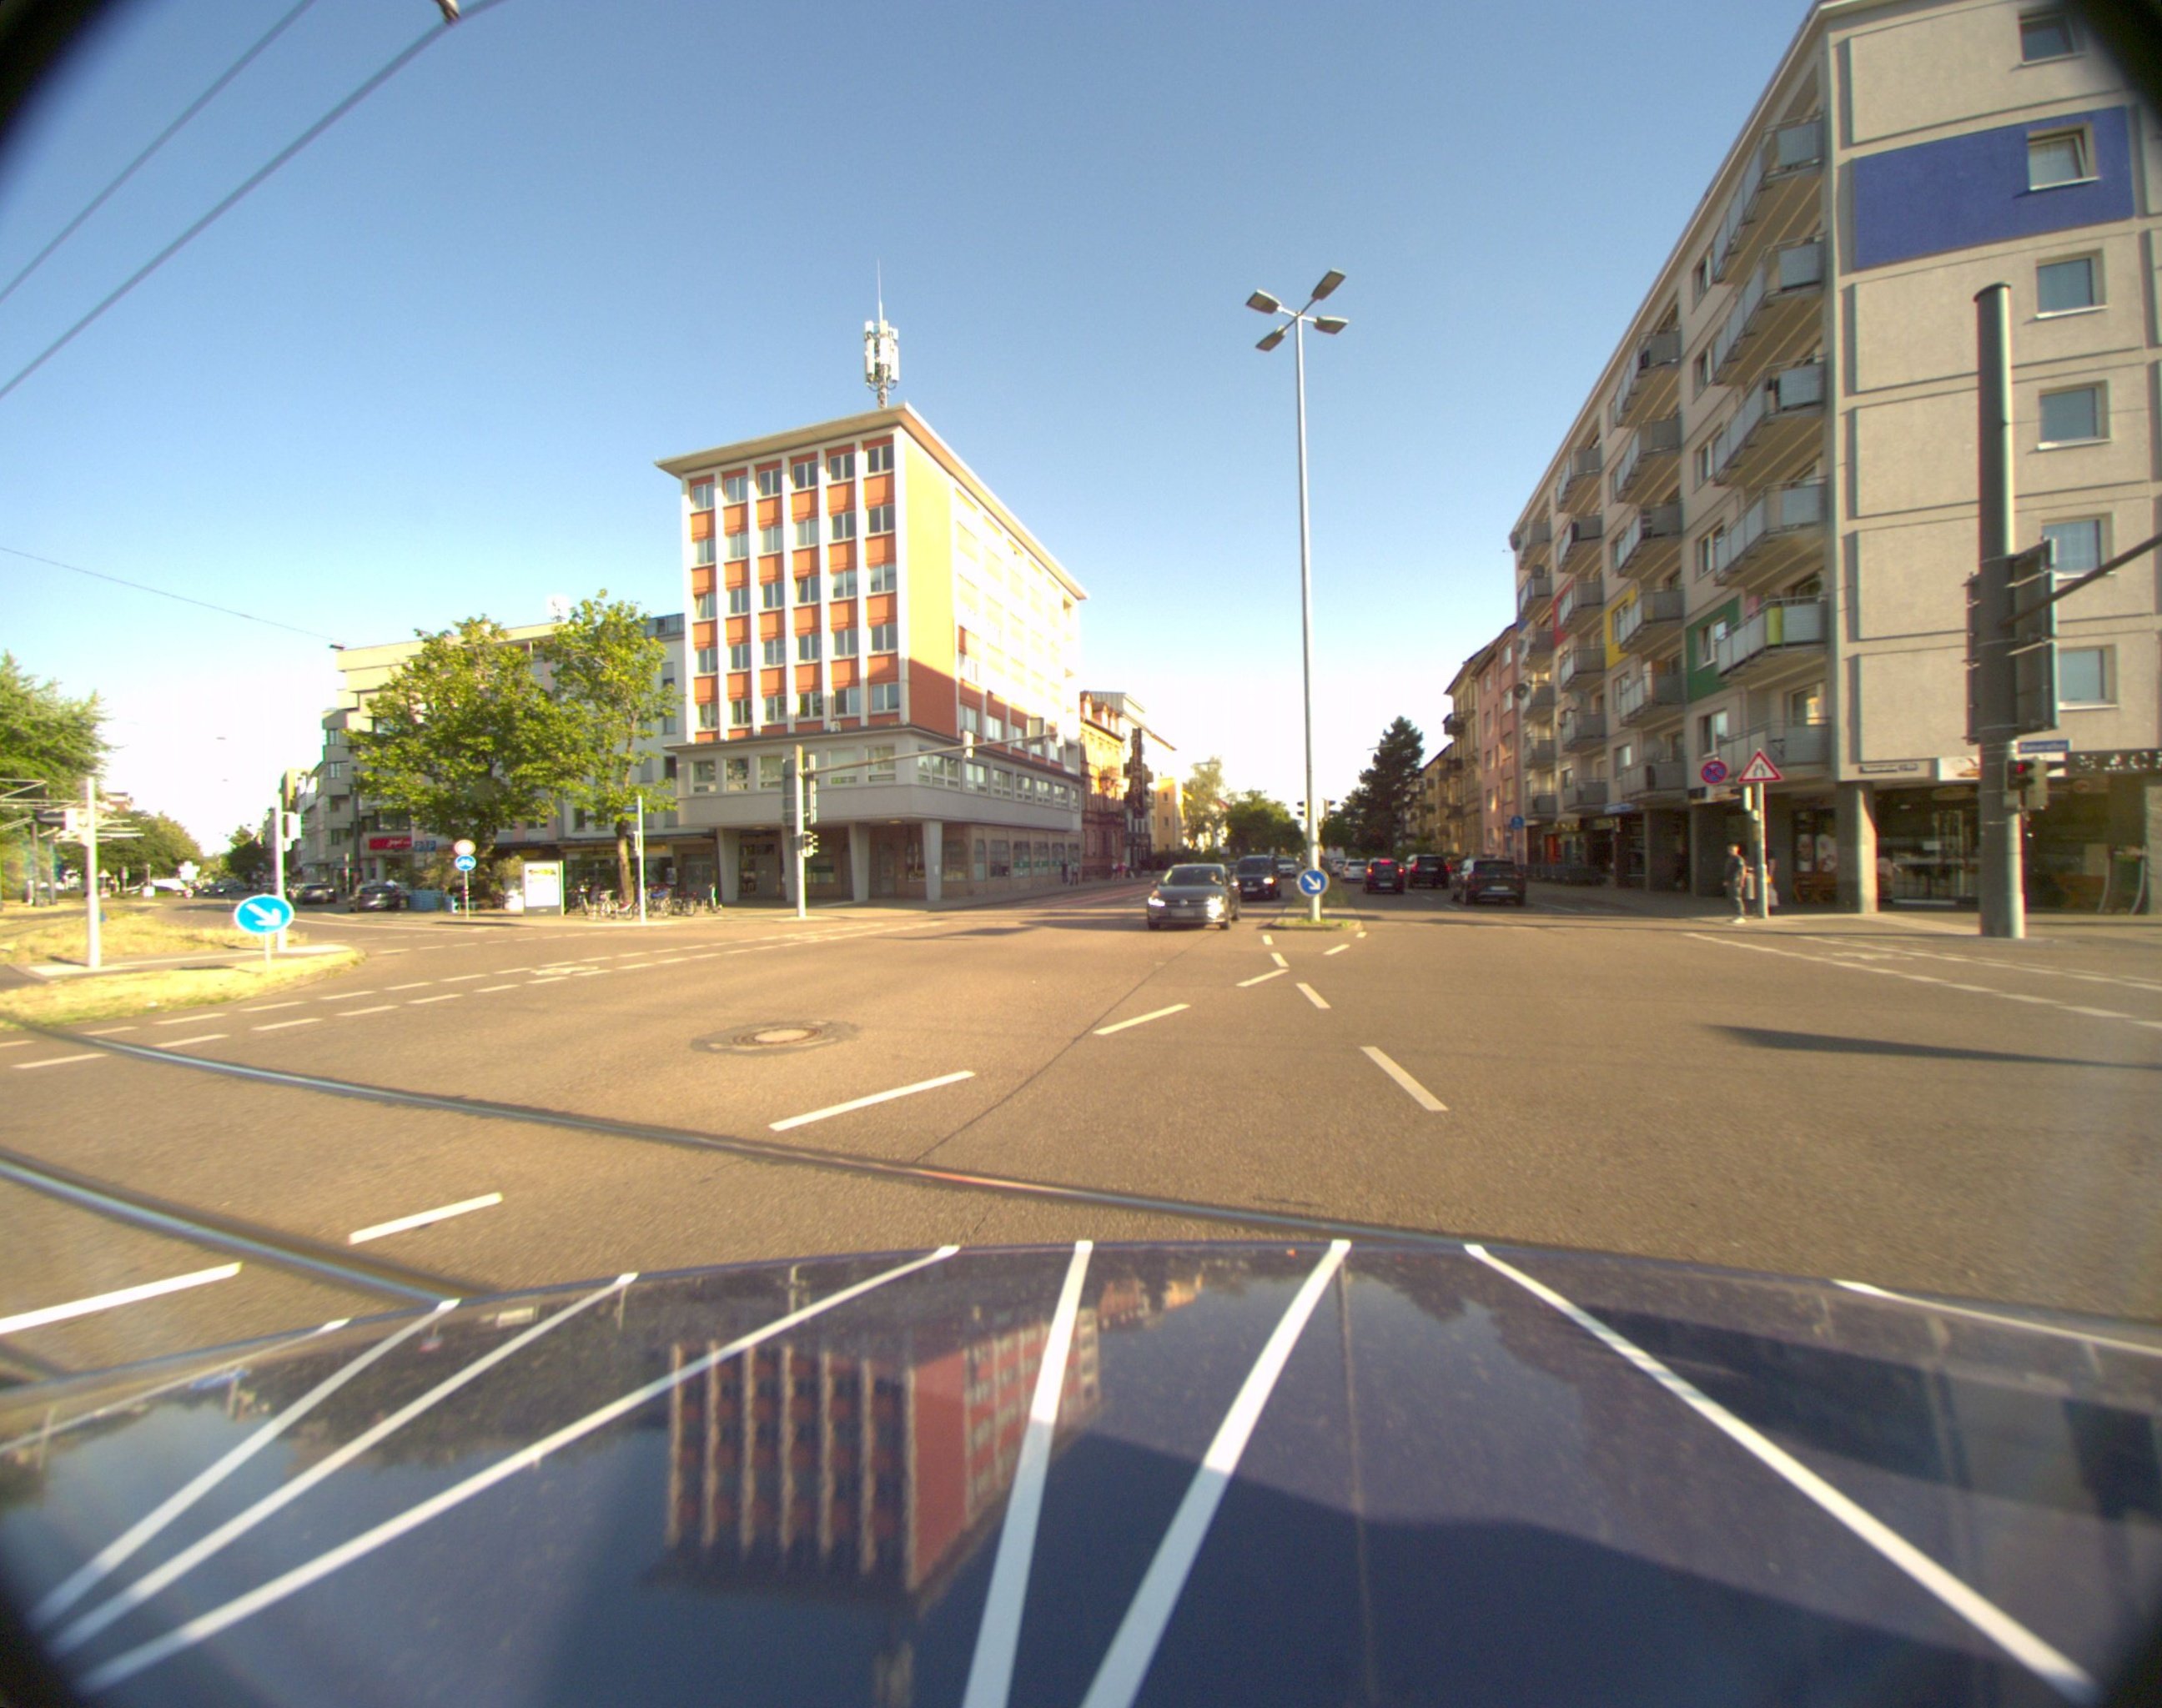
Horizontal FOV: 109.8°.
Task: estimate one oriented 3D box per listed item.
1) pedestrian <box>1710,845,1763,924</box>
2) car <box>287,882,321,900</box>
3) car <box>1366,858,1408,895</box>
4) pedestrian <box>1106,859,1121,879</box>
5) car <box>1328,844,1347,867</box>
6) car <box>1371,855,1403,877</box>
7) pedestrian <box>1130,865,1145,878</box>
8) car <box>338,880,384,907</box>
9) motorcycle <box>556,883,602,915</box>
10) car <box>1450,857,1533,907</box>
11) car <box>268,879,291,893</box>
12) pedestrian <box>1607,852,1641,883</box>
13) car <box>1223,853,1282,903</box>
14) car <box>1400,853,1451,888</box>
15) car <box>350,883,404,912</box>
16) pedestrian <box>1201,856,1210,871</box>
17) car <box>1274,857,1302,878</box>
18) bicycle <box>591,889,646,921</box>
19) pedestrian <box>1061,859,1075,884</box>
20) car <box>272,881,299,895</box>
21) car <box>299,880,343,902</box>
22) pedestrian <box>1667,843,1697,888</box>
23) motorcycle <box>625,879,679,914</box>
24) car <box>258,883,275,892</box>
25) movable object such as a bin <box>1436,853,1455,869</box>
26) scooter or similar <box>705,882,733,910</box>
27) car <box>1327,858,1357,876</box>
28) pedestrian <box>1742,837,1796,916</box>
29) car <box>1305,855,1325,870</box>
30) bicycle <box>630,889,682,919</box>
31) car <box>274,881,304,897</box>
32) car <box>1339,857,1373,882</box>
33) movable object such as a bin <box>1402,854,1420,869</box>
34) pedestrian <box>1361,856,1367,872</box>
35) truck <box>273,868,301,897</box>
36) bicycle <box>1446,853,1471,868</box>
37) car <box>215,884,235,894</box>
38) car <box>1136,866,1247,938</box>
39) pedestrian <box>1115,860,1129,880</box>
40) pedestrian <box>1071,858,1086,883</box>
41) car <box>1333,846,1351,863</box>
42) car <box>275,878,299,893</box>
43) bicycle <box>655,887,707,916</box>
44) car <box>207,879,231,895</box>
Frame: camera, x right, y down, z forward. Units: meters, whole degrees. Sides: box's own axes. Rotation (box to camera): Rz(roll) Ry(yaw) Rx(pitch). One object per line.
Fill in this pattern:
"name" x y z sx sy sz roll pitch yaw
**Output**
"pedestrian" 15.151 0.690 17.587 0.609 1.776 0.813 -4 -1 22
"car" -66.024 3.097 64.536 3.381 1.376 1.744 -2 0 40
"car" 13.675 0.961 34.113 1.579 1.535 3.482 0 0 19
"pedestrian" 2.658 1.220 62.154 0.785 1.579 1.012 3 2 23
"car" 30.305 0.165 89.815 2.133 2.740 4.472 0 0 18
"car" 21.979 0.807 54.631 1.677 1.535 3.642 0 0 15
"pedestrian" 5.065 1.564 68.355 1.099 1.129 0.926 -1 0 16
"car" -45.534 2.474 48.051 3.626 1.537 1.644 -1 0 40
"motorcycle" -21.713 1.938 32.832 2.051 1.300 0.892 -1 1 34
"car" 13.816 0.905 25.801 1.797 1.556 4.153 -1 -1 18
"car" -101.969 4.054 96.680 3.570 1.692 1.775 -1 0 40
"pedestrian" 23.466 0.577 32.853 0.972 1.338 0.884 -1 0 19
"car" 7.040 0.900 30.827 1.892 1.843 4.472 0 0 18
"car" 17.961 0.827 39.780 1.818 1.701 4.792 0 0 17
"car" -38.113 2.329 41.098 3.626 1.419 1.644 -2 0 40
"pedestrian" 13.751 1.036 83.720 0.737 1.593 1.012 2 1 23
"car" 16.376 1.056 60.059 1.904 1.532 4.005 -2 0 18
"bicycle" -17.392 1.914 28.599 1.974 1.109 0.594 0 0 16
"pedestrian" -0.940 1.234 54.196 0.667 1.716 1.012 -1 0 19
"car" -86.205 3.707 82.306 3.614 1.376 1.744 -2 0 40
"car" -57.335 2.772 57.319 3.862 1.547 1.968 -2 0 40
"pedestrian" 22.831 0.436 28.873 0.626 1.662 0.658 -1 0 -17
"motorcycle" -19.065 1.881 33.849 0.843 1.384 2.267 -3 0 7
"car" -126.851 5.186 118.337 3.415 1.366 1.499 -2 0 40
"movable object such as a bin" 30.009 0.576 62.566 1.194 1.225 0.848 -2 0 -21
"scooter or similar" -16.870 1.957 35.399 1.557 1.228 0.485 0 1 38
"car" 21.435 1.016 62.552 1.711 1.417 4.105 0 0 10
"pedestrian" 16.822 0.537 18.604 0.609 1.864 0.813 -4 -1 19
"car" 24.312 0.826 79.120 1.678 1.535 4.106 0 0 13
"bicycle" -16.883 1.969 30.176 2.003 1.108 0.595 0 0 17
"car" -76.234 3.375 73.141 3.614 1.376 1.744 -2 0 40
"car" 17.312 0.939 47.993 1.677 1.535 3.810 0 0 14
"movable object such as a bin" 28.675 0.657 66.011 1.195 1.225 0.847 -2 0 -30
"pedestrian" 28.498 0.961 76.535 0.576 1.591 0.482 -1 0 19
"truck" -91.728 3.252 87.751 6.389 3.201 1.744 -1 0 40
"bicycle" 30.727 0.523 61.816 1.777 1.184 0.474 -1 0 16
"car" -118.017 4.814 104.764 3.766 1.316 1.681 -2 0 40
"car" 2.710 1.022 17.741 1.768 1.450 4.276 -1 -1 19
"pedestrian" 3.359 1.284 61.826 0.737 1.579 1.012 3 2 23
"pedestrian" -0.179 1.161 53.932 0.667 1.716 1.012 -1 1 20
"car" 24.709 0.015 71.921 1.537 1.583 2.812 0 0 18
"car" -96.846 3.789 92.677 3.570 1.692 1.775 -1 0 40
"bicycle" -16.509 1.960 31.387 2.057 1.108 0.594 0 0 16
"car" -100.384 3.816 88.485 3.479 1.803 1.653 -1 0 40
